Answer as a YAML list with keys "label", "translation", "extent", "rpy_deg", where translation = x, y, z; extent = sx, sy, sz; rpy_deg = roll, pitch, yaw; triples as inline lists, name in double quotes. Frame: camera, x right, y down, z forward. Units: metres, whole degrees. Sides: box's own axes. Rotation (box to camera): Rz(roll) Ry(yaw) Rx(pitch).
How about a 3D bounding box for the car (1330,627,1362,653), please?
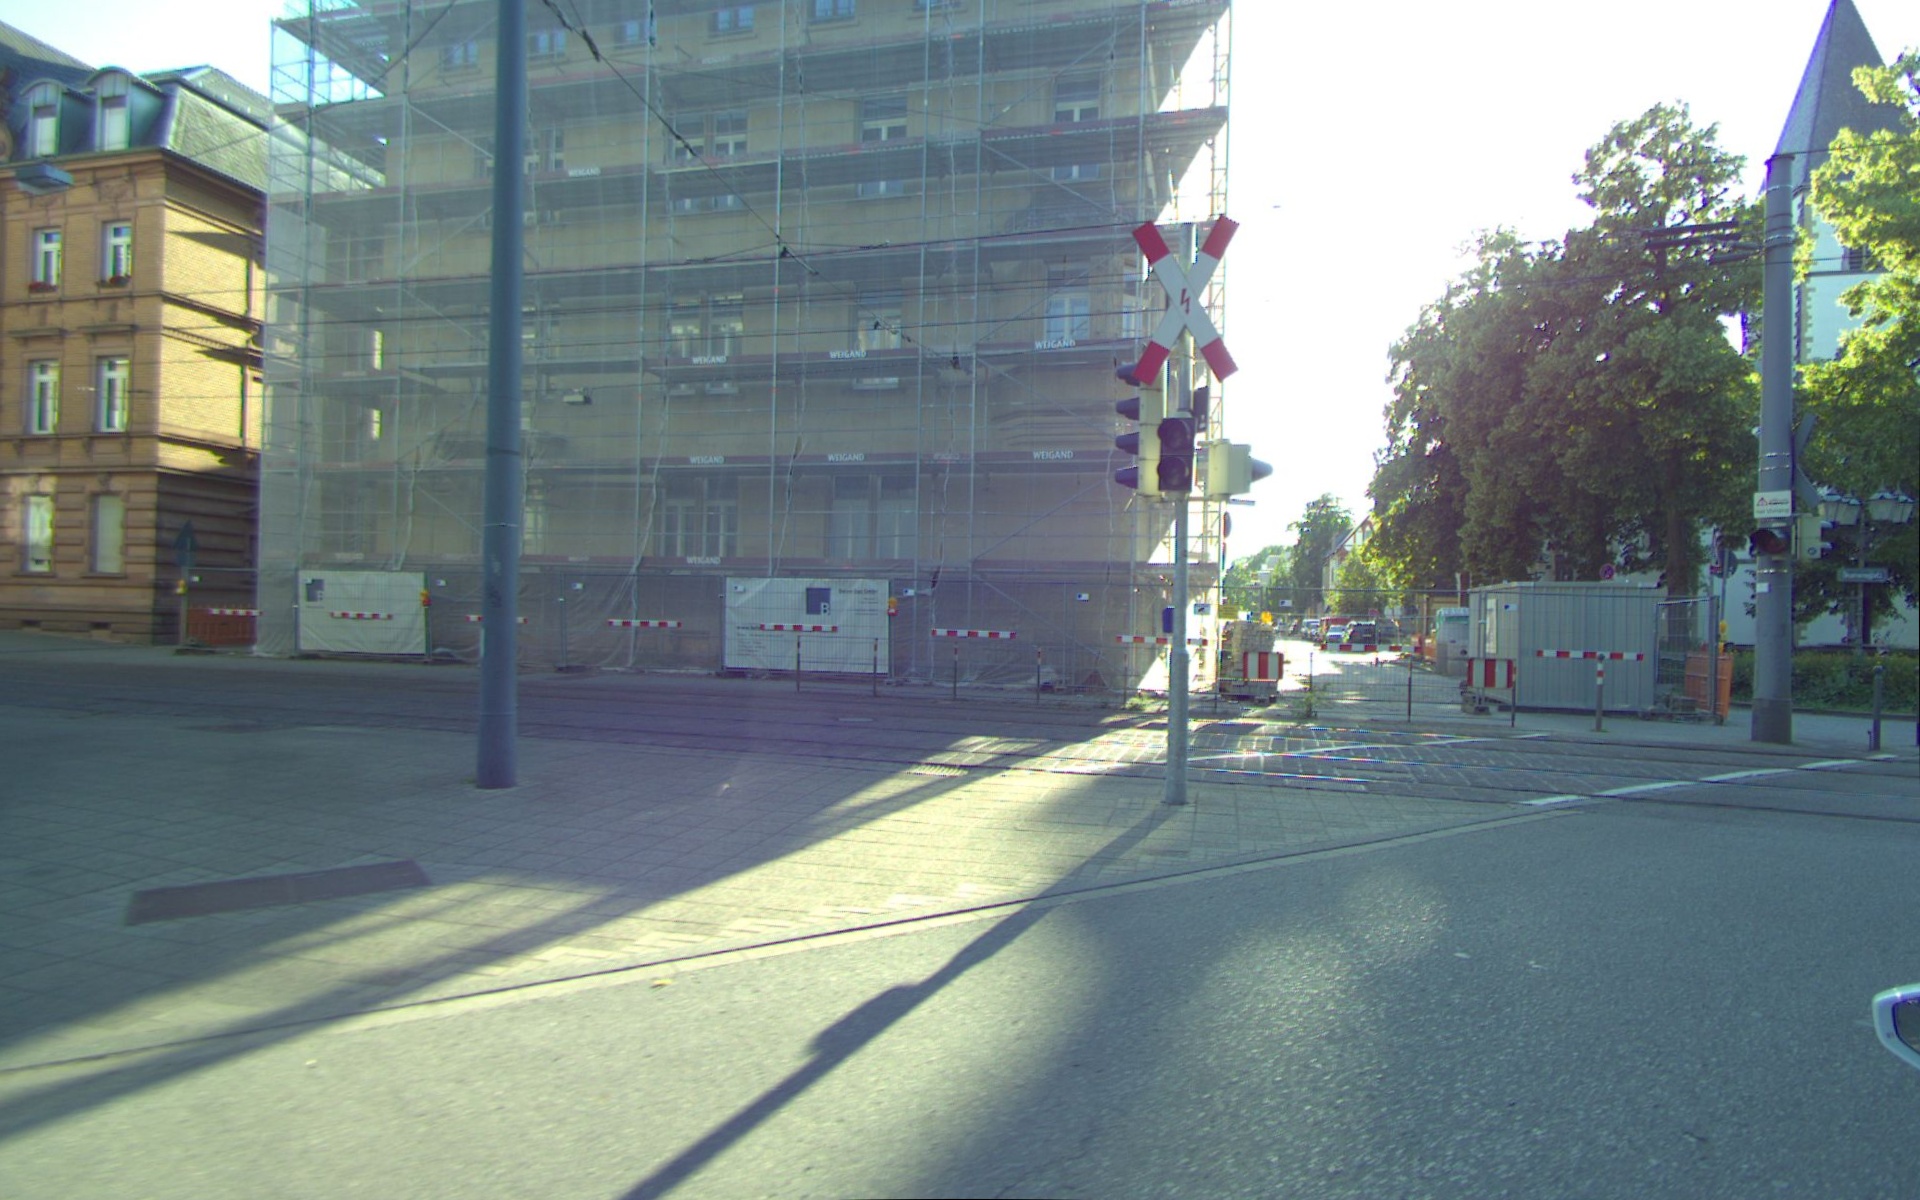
- label: "car"
  translation: [26.161, 2.690, 68.164]
  extent: [1.854, 1.677, 4.220]
  rpy_deg: [1, -1, 20]

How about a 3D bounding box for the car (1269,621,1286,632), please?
- label: "car"
  translation: [43.834, 3.632, 138.662]
  extent: [1.853, 1.534, 4.223]
  rpy_deg: [1, -1, 13]

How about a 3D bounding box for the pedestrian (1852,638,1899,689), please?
- label: "pedestrian"
  translation: [22.716, 1.571, 24.937]
  extent: [0.871, 1.211, 0.550]
  rpy_deg: [1, -1, -23]

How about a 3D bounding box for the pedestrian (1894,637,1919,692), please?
- label: "pedestrian"
  translation: [23.205, 1.558, 24.360]
  extent: [0.755, 1.315, 0.550]
  rpy_deg: [1, -1, -23]

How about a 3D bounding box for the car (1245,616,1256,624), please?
- label: "car"
  translation: [58.696, 4.017, 202.800]
  extent: [1.853, 1.534, 4.223]
  rpy_deg: [1, -1, 13]

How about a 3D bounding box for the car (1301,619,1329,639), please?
- label: "car"
  translation: [31.608, 2.563, 89.487]
  extent: [1.853, 1.677, 4.223]
  rpy_deg: [1, -1, 13]

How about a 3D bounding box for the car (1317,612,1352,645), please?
- label: "car"
  translation: [27.621, 2.071, 74.113]
  extent: [1.853, 2.291, 4.223]
  rpy_deg: [1, -1, 13]

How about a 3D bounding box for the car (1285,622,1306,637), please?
- label: "car"
  translation: [38.113, 3.343, 114.279]
  extent: [1.853, 1.534, 4.223]
  rpy_deg: [1, -1, 13]

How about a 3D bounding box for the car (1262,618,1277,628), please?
- label: "car"
  translation: [47.556, 3.521, 154.253]
  extent: [1.853, 1.534, 4.223]
  rpy_deg: [1, -1, 13]

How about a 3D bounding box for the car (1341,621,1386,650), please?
- label: "car"
  translation: [24.237, 2.109, 60.453]
  extent: [1.853, 1.677, 4.223]
  rpy_deg: [1, -1, 13]

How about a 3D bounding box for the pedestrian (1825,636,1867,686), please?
- label: "pedestrian"
  translation: [22.464, 1.543, 25.462]
  extent: [0.714, 1.249, 0.550]
  rpy_deg: [1, -1, -23]

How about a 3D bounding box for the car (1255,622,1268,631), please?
- label: "car"
  translation: [52.213, 4.584, 174.177]
  extent: [1.853, 1.534, 4.223]
  rpy_deg: [1, -1, 13]
